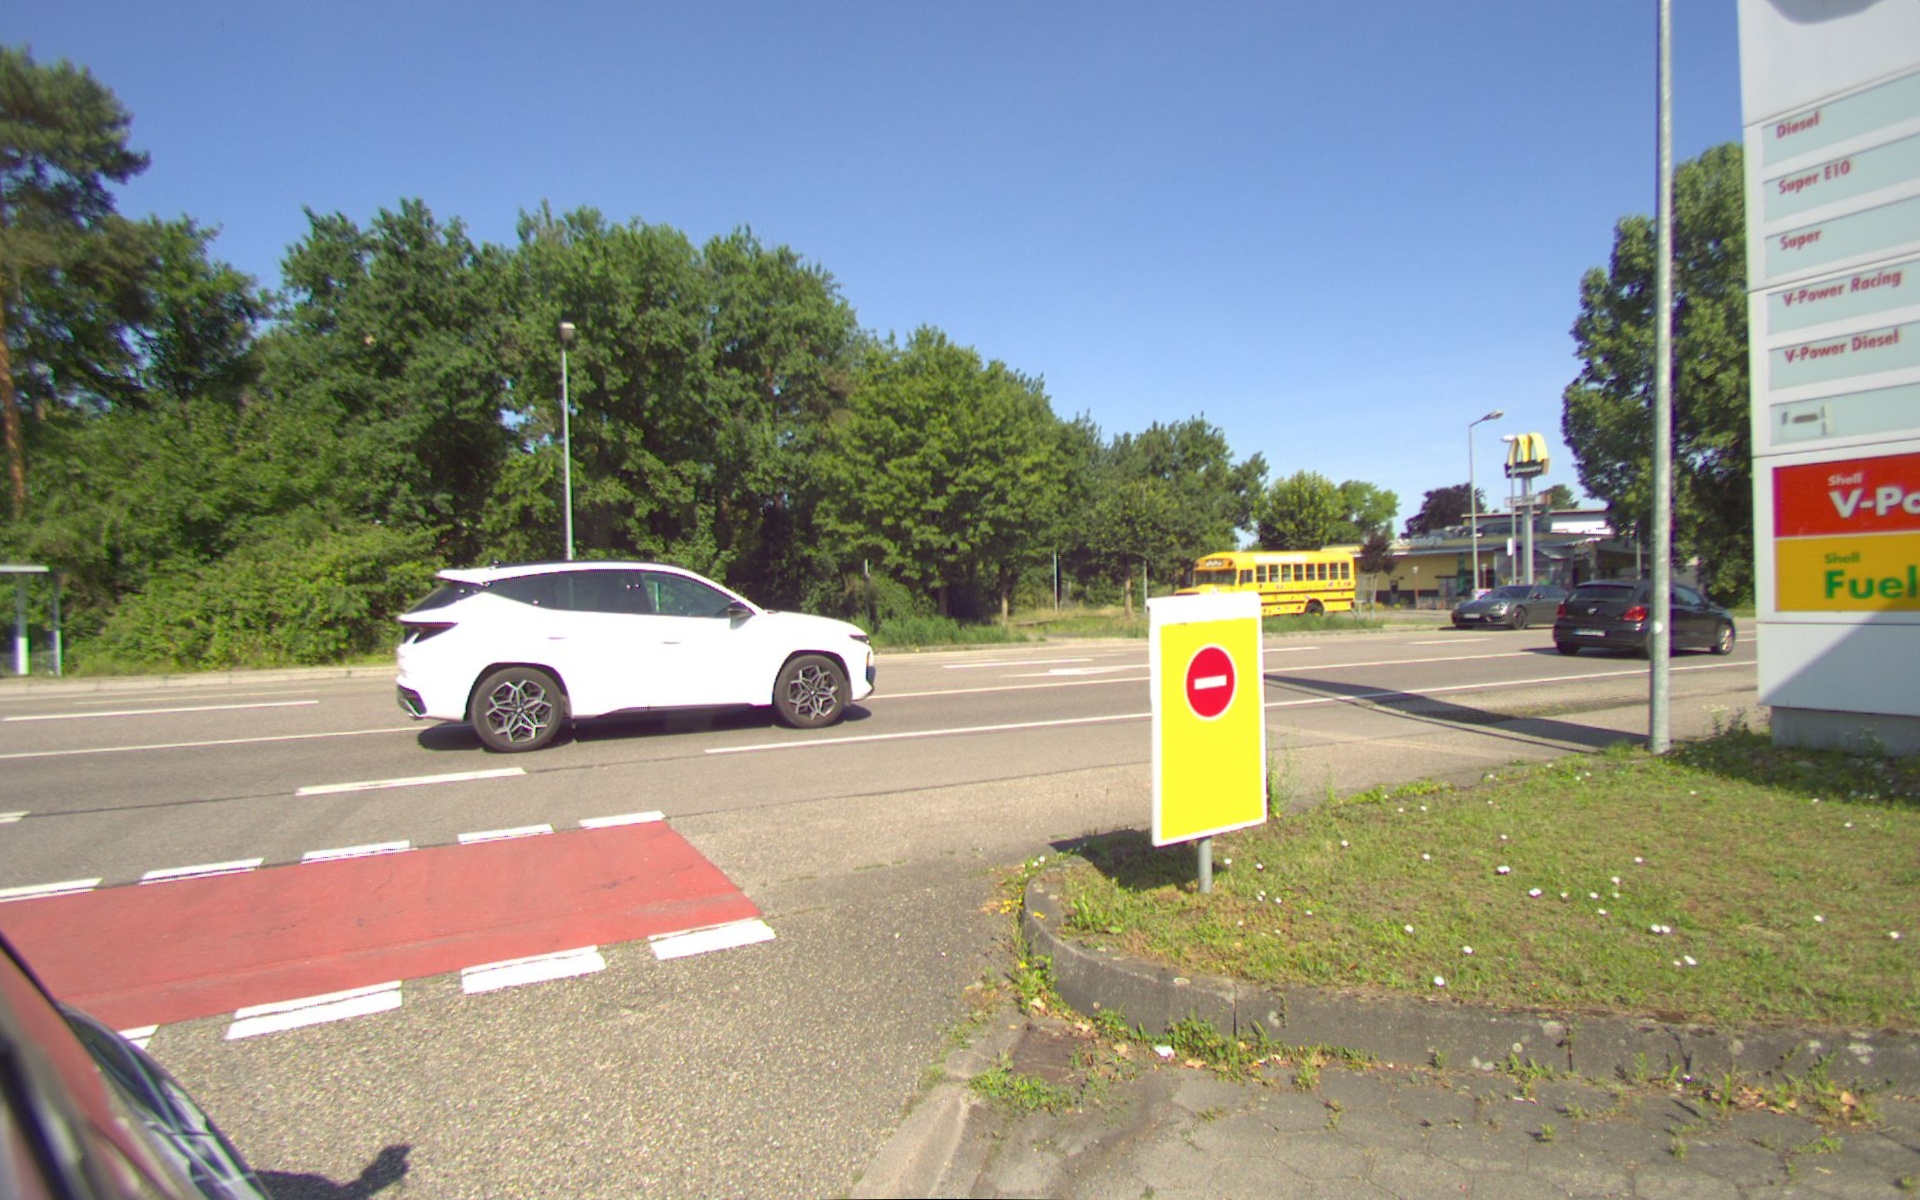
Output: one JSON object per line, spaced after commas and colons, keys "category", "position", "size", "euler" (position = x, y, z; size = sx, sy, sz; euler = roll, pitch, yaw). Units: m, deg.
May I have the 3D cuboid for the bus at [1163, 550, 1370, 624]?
{"category": "bus", "position": [12.267, -0.518, 40.159], "size": [8.843, 2.699, 2.595], "euler": [0, 1, -31]}

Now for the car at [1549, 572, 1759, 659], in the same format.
{"category": "car", "position": [12.957, 0.220, 18.863], "size": [3.985, 1.441, 1.657], "euler": [-1, 2, -30]}

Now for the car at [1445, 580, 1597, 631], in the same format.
{"category": "car", "position": [17.675, 0.174, 31.822], "size": [4.827, 1.507, 1.858], "euler": [0, -2, -29]}

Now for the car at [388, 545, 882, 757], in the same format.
{"category": "car", "position": [-3.065, 0.357, 9.758], "size": [4.233, 1.661, 1.820], "euler": [-1, 1, -29]}
